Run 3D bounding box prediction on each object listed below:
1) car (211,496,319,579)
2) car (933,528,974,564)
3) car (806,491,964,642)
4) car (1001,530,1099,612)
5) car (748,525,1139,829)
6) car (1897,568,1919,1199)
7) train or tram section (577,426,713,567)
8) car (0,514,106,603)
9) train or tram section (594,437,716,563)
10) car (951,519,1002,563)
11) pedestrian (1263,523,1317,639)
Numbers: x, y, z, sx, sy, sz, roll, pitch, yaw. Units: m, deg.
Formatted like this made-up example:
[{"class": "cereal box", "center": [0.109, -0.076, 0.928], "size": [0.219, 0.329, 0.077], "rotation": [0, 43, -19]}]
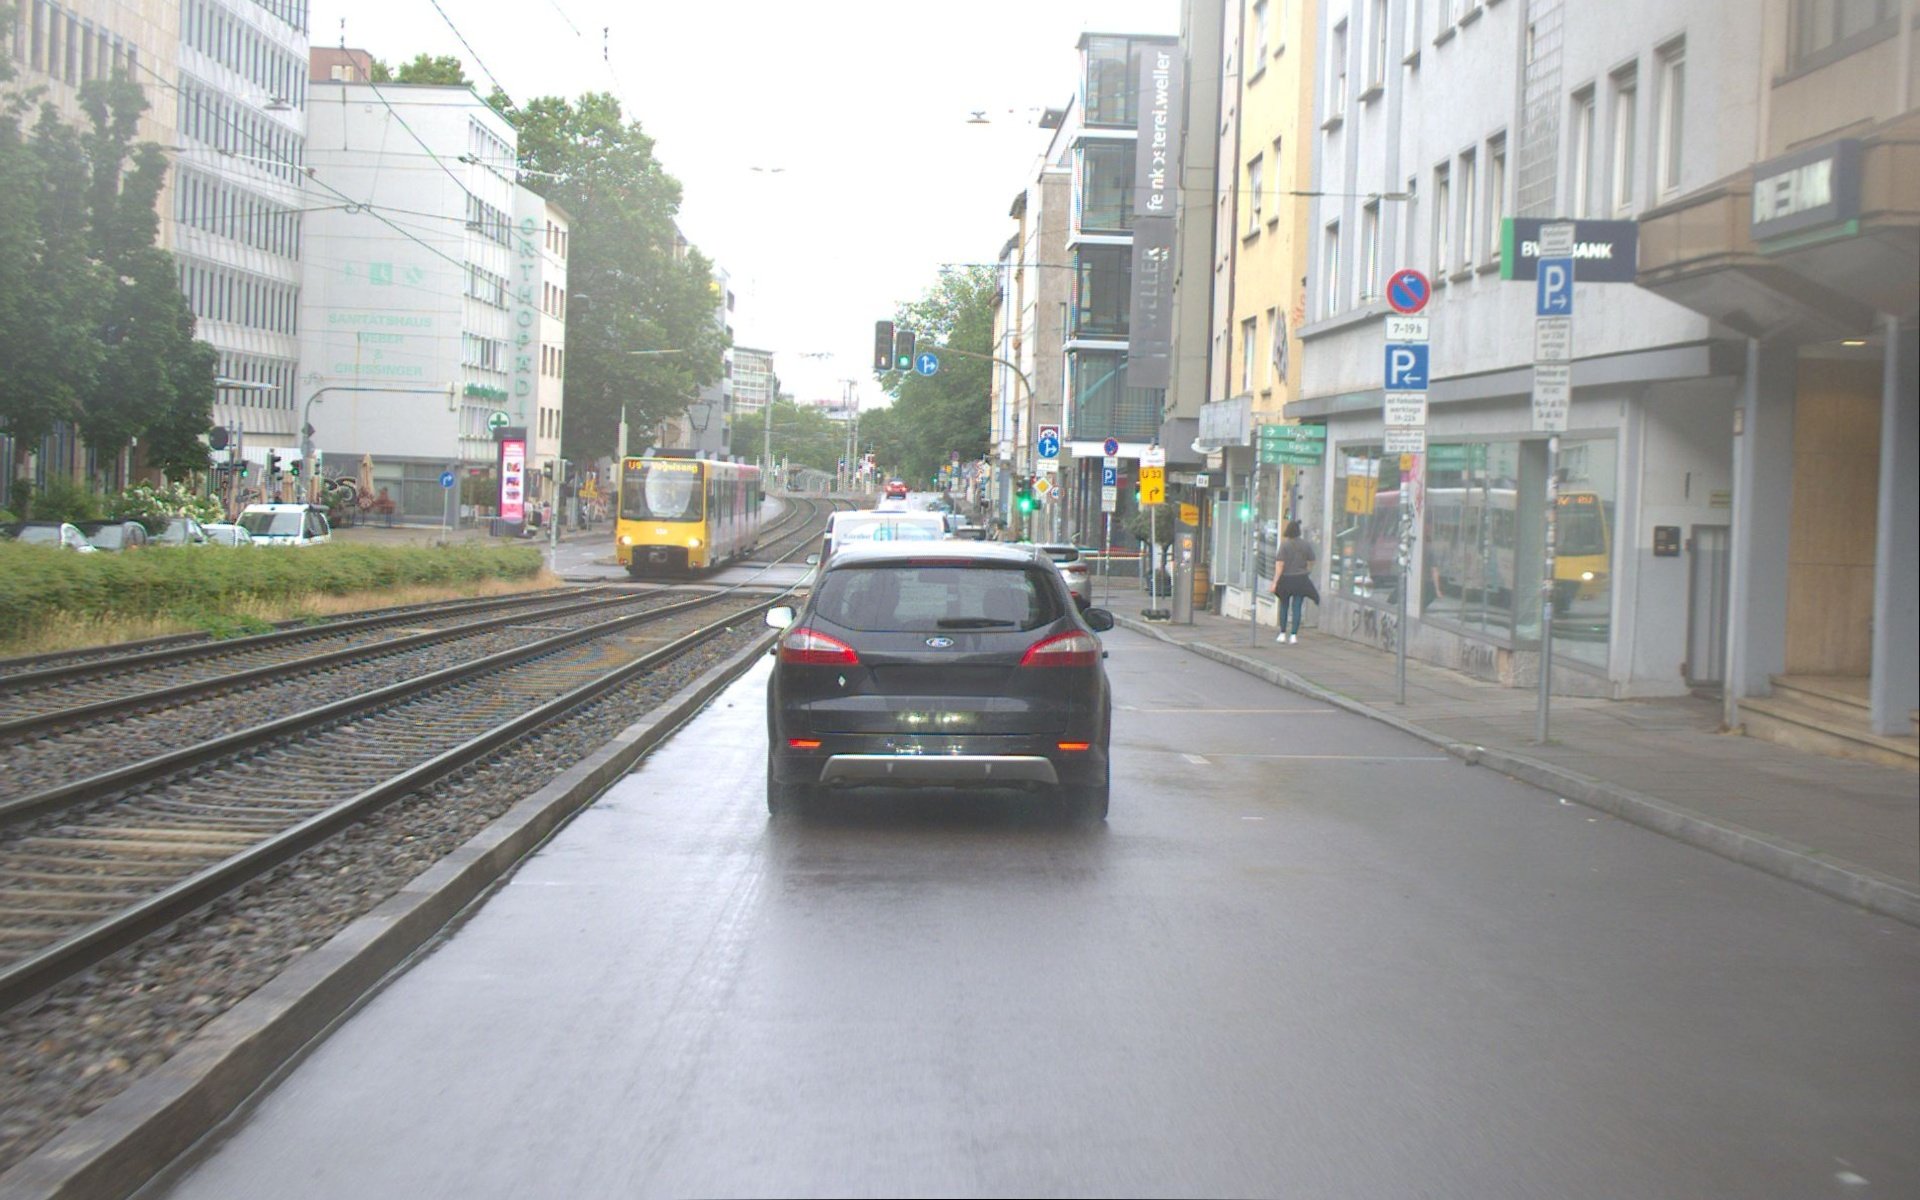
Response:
[{"class": "car", "center": [-16.472, -1.467, 81.670], "size": [1.906, 1.858, 4.574], "rotation": [2, 0, -4]}, {"class": "car", "center": [-0.303, -2.585, 166.409], "size": [1.906, 1.628, 4.574], "rotation": [2, 0, 0]}, {"class": "car", "center": [-0.953, -0.440, 45.948], "size": [1.906, 1.858, 4.574], "rotation": [2, 0, 1]}, {"class": "car", "center": [1.876, -0.602, 72.748], "size": [1.906, 1.628, 4.574], "rotation": [2, 0, 0]}, {"class": "car", "center": [-0.099, 0.372, 18.882], "size": [1.906, 1.457, 3.445], "rotation": [2, 0, -1]}, {"class": "car", "center": [2.931, 0.712, 5.999], "size": [1.557, 1.471, 3.566], "rotation": [2, 1, 0]}, {"class": "train or tram section", "center": [-9.047, -2.933, 99.874], "size": [3.512, 3.764, 11.333], "rotation": [1, 1, -4]}, {"class": "car", "center": [-15.757, -0.730, 58.684], "size": [1.568, 1.431, 4.178], "rotation": [1, 1, -4]}, {"class": "train or tram section", "center": [-9.760, -3.161, 111.168], "size": [3.538, 3.764, 11.333], "rotation": [1, 1, -4]}, {"class": "car", "center": [0.628, -2.299, 134.722], "size": [1.906, 1.628, 4.574], "rotation": [2, 0, 0]}, {"class": "pedestrian", "center": [4.439, -0.255, 46.245], "size": [0.611, 1.532, 0.649], "rotation": [1, 1, -2]}]
